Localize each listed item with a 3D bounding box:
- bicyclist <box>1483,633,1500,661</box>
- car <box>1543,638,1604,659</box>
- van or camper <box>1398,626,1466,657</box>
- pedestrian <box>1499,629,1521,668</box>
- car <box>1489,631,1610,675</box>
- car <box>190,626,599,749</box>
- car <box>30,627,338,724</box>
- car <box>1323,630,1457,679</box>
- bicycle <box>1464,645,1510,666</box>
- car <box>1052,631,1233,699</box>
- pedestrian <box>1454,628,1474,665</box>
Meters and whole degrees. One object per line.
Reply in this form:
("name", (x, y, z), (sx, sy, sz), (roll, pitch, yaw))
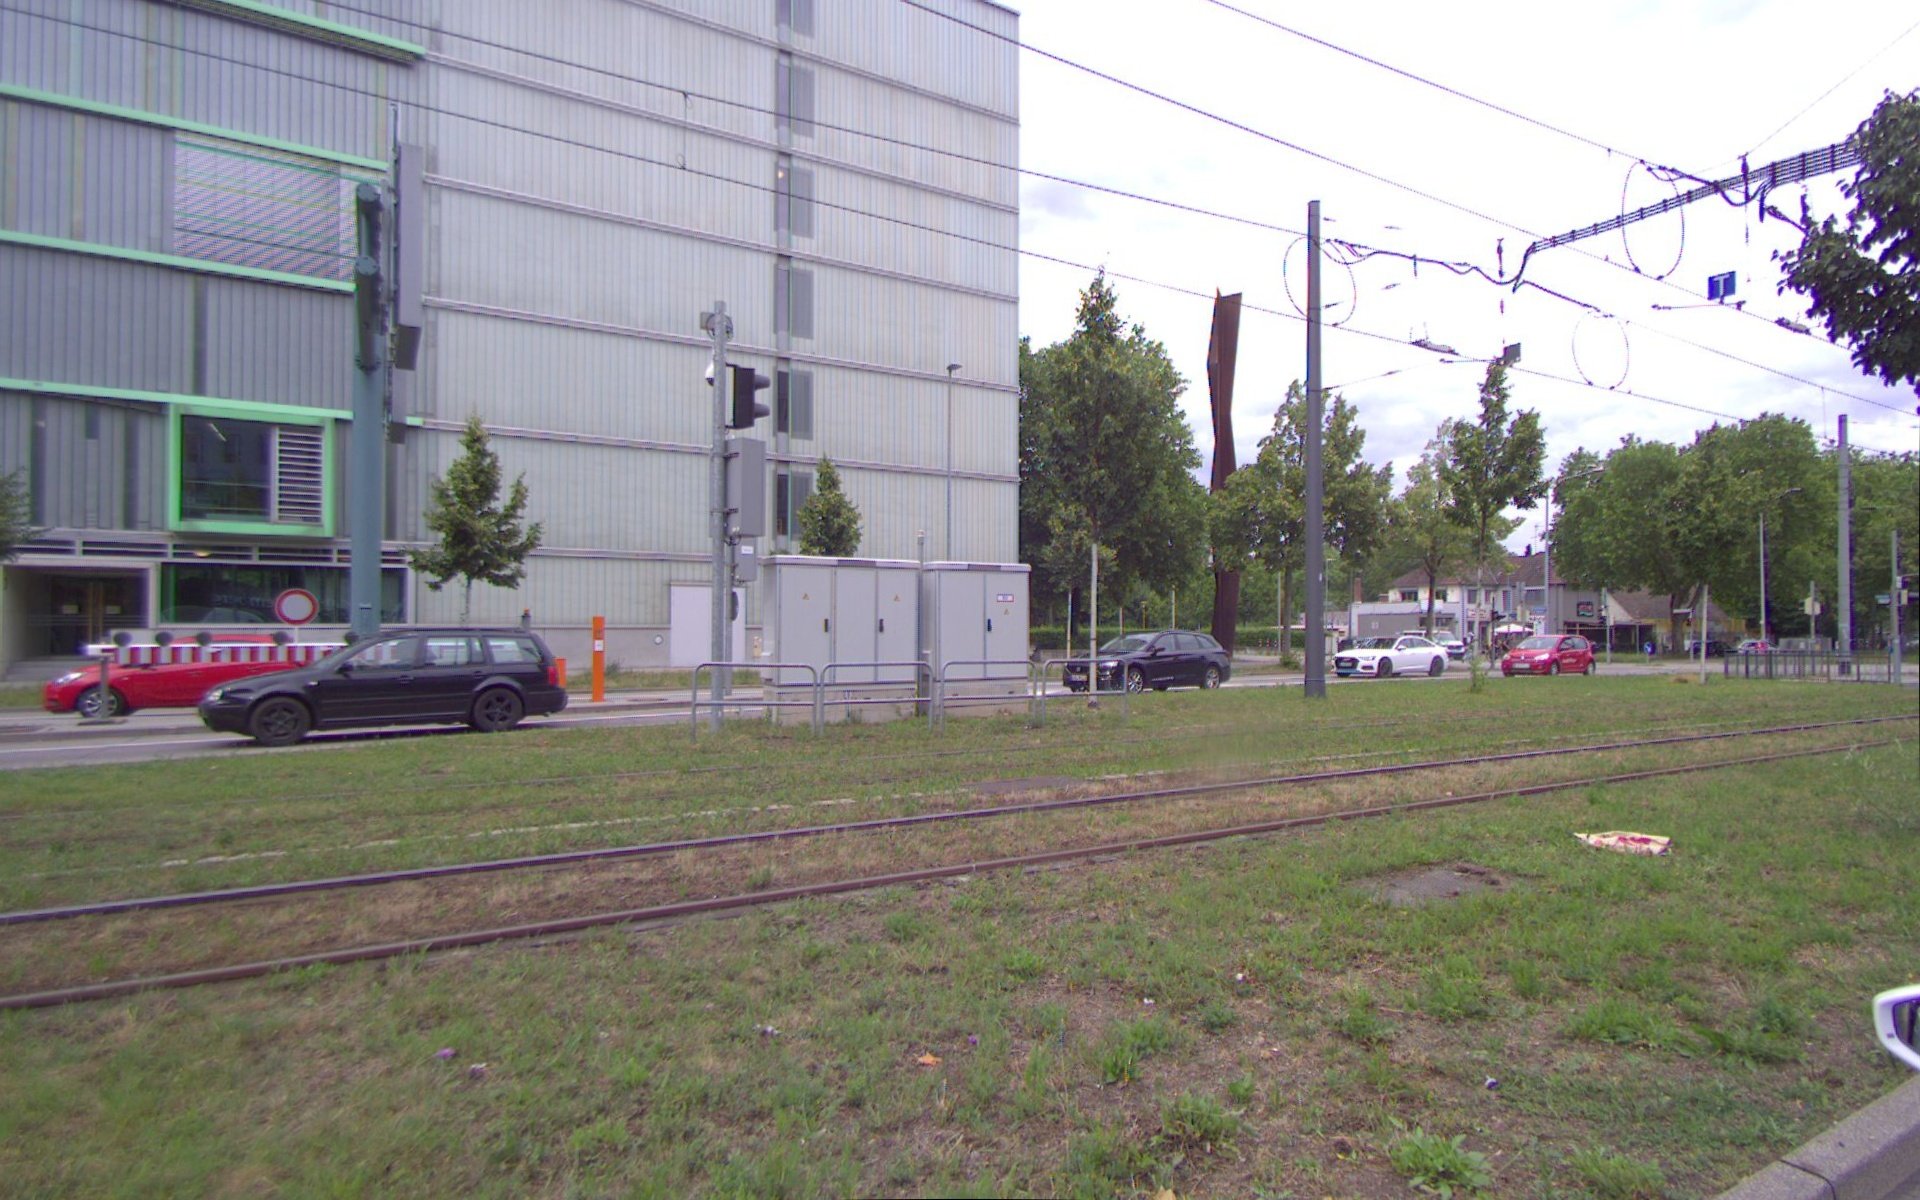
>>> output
("bicyclist", (32.886, 2.900, 62.143), (0.838, 1.744, 0.719), (0, -1, 34))
("car", (54.965, 4.333, 90.090), (2.078, 1.840, 4.268), (1, -1, -25))
("van or camper", (32.411, 2.794, 69.181), (2.416, 2.040, 5.283), (0, -1, 2))
("pedestrian", (26.900, 2.350, 49.154), (0.769, 1.856, 0.771), (-1, -1, 43))
("car", (20.138, 1.781, 34.283), (4.220, 1.395, 1.802), (1, -2, -31))
("car", (-7.604, 1.102, 13.862), (4.700, 1.445, 1.652), (1, -3, -36))
("car", (-14.020, 1.298, 18.527), (4.278, 1.591, 1.787), (1, -1, -32))
("car", (15.323, 1.891, 35.709), (5.019, 1.609, 1.802), (1, -2, -31))
("bicycle", (32.666, 3.408, 62.294), (2.474, 1.218, 0.738), (-1, -1, 35))
("car", (4.156, 1.394, 22.637), (4.020, 1.395, 1.788), (1, -2, -37))
("pedestrian", (28.139, 2.609, 56.104), (0.887, 2.040, 0.954), (0, -1, 18))
